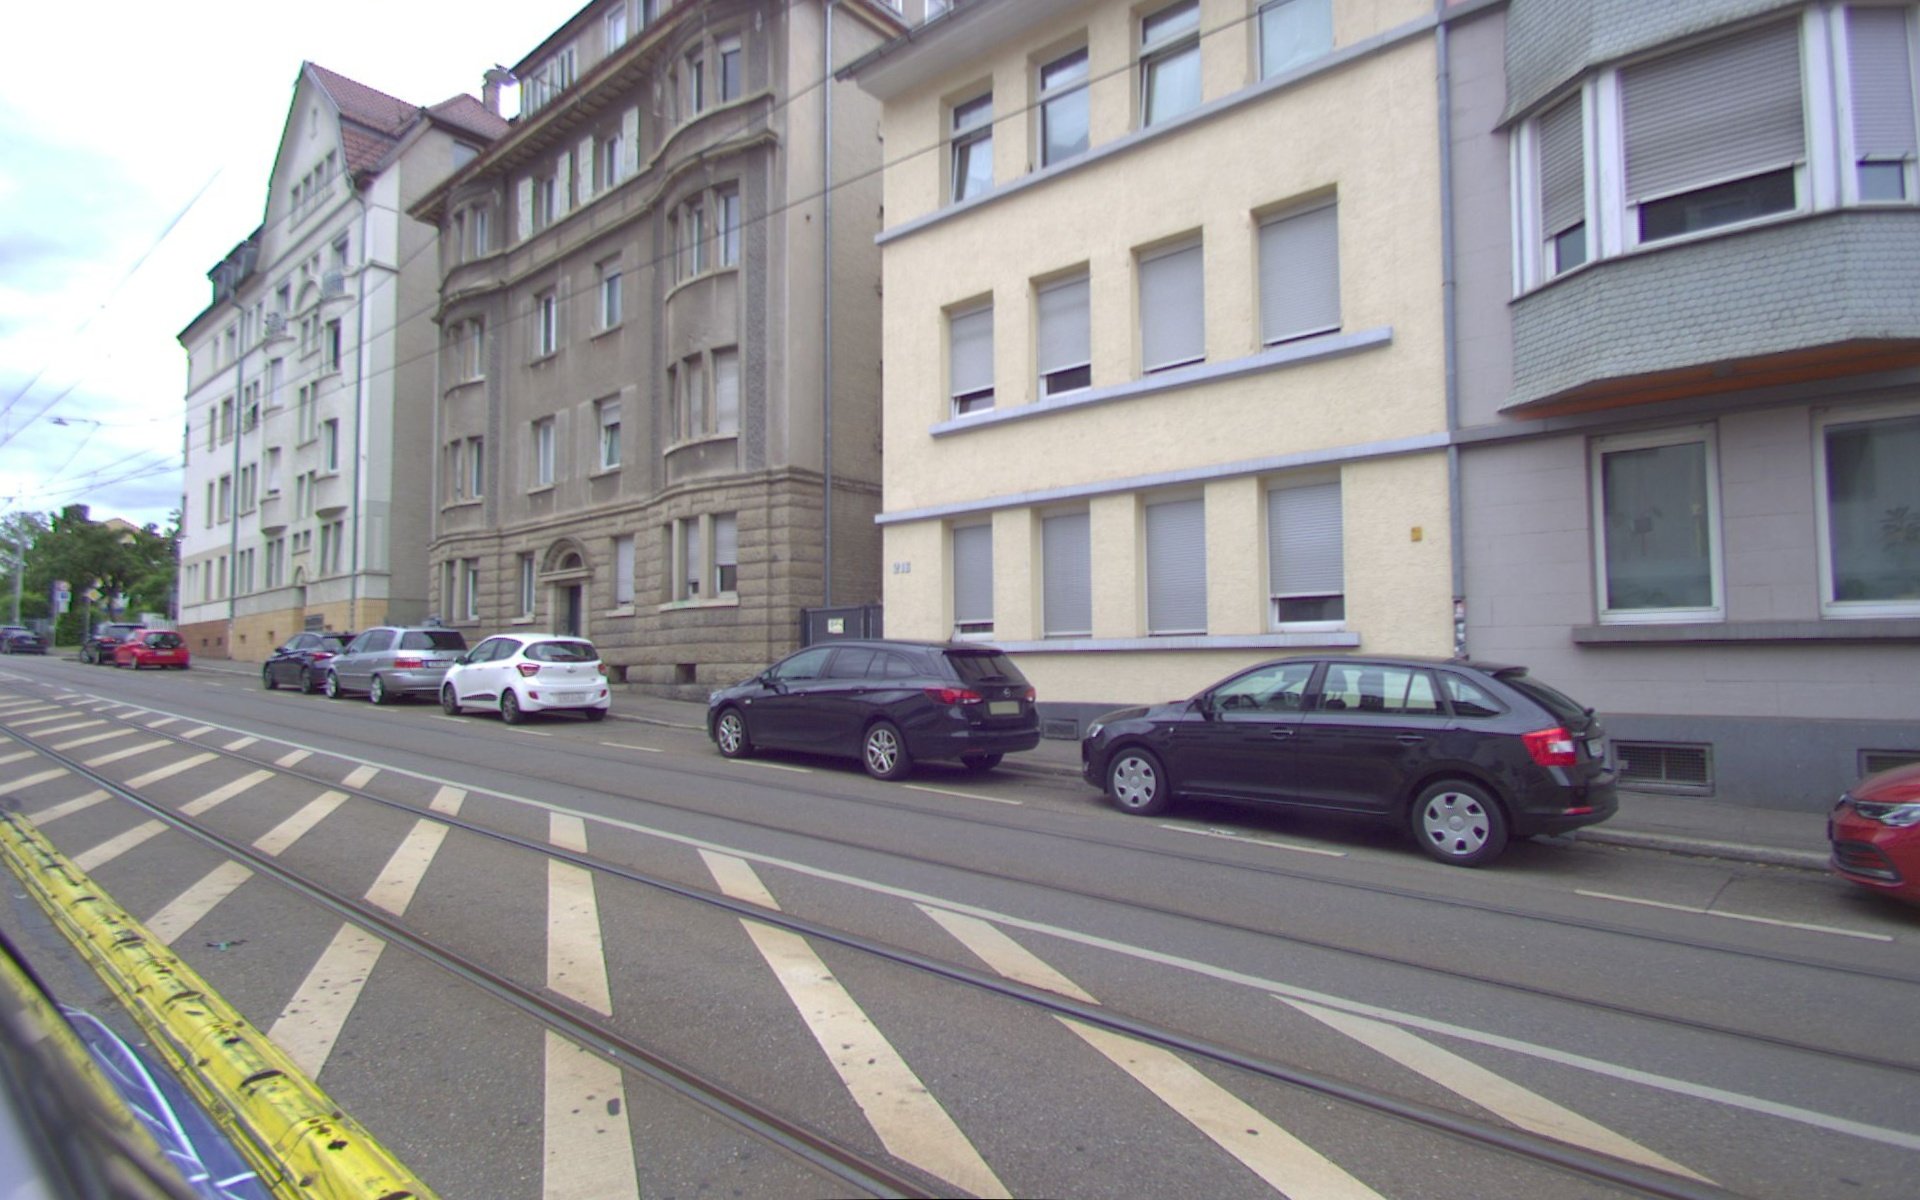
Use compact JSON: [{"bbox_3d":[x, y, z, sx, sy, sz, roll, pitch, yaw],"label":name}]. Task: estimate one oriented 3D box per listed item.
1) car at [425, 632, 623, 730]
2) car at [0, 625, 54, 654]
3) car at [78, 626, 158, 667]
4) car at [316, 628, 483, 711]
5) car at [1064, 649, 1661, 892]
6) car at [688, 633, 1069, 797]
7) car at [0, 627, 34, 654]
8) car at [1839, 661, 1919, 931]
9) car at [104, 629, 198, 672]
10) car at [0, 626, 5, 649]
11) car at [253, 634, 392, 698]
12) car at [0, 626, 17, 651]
[{"bbox_3d":[-7.777,1.353,17.927,3.799,1.522,1.720,-1,-3,41],"label":"car"},{"bbox_3d":[-52.910,2.225,57.374,3.949,1.537,1.721,-1,-4,40],"label":"car"},{"bbox_3d":[-33.744,1.846,40.534,3.949,1.537,1.721,-1,-4,40],"label":"car"},{"bbox_3d":[-11.952,1.402,21.494,4.140,1.579,1.721,-1,-2,40],"label":"car"},{"bbox_3d":[3.113,1.179,8.356,4.239,1.421,1.766,-1,-5,41],"label":"car"},{"bbox_3d":[-1.103,1.205,11.842,4.524,1.522,1.766,-1,-5,41],"label":"car"},{"bbox_3d":[-57.695,2.449,61.404,3.950,1.537,1.720,-1,-5,41],"label":"car"},{"bbox_3d":[7.146,1.094,4.948,4.259,1.449,1.766,-1,-5,41],"label":"car"},{"bbox_3d":[-30.007,1.866,37.507,3.945,1.470,1.722,-1,-4,37],"label":"car"},{"bbox_3d":[-66.706,2.495,69.083,3.949,1.537,1.721,-1,-4,40],"label":"car"},{"bbox_3d":[-15.600,1.559,24.699,4.042,1.392,1.721,-1,-2,40],"label":"car"},{"bbox_3d":[-62.623,2.453,65.576,3.949,1.537,1.721,-1,-4,40],"label":"car"}]
